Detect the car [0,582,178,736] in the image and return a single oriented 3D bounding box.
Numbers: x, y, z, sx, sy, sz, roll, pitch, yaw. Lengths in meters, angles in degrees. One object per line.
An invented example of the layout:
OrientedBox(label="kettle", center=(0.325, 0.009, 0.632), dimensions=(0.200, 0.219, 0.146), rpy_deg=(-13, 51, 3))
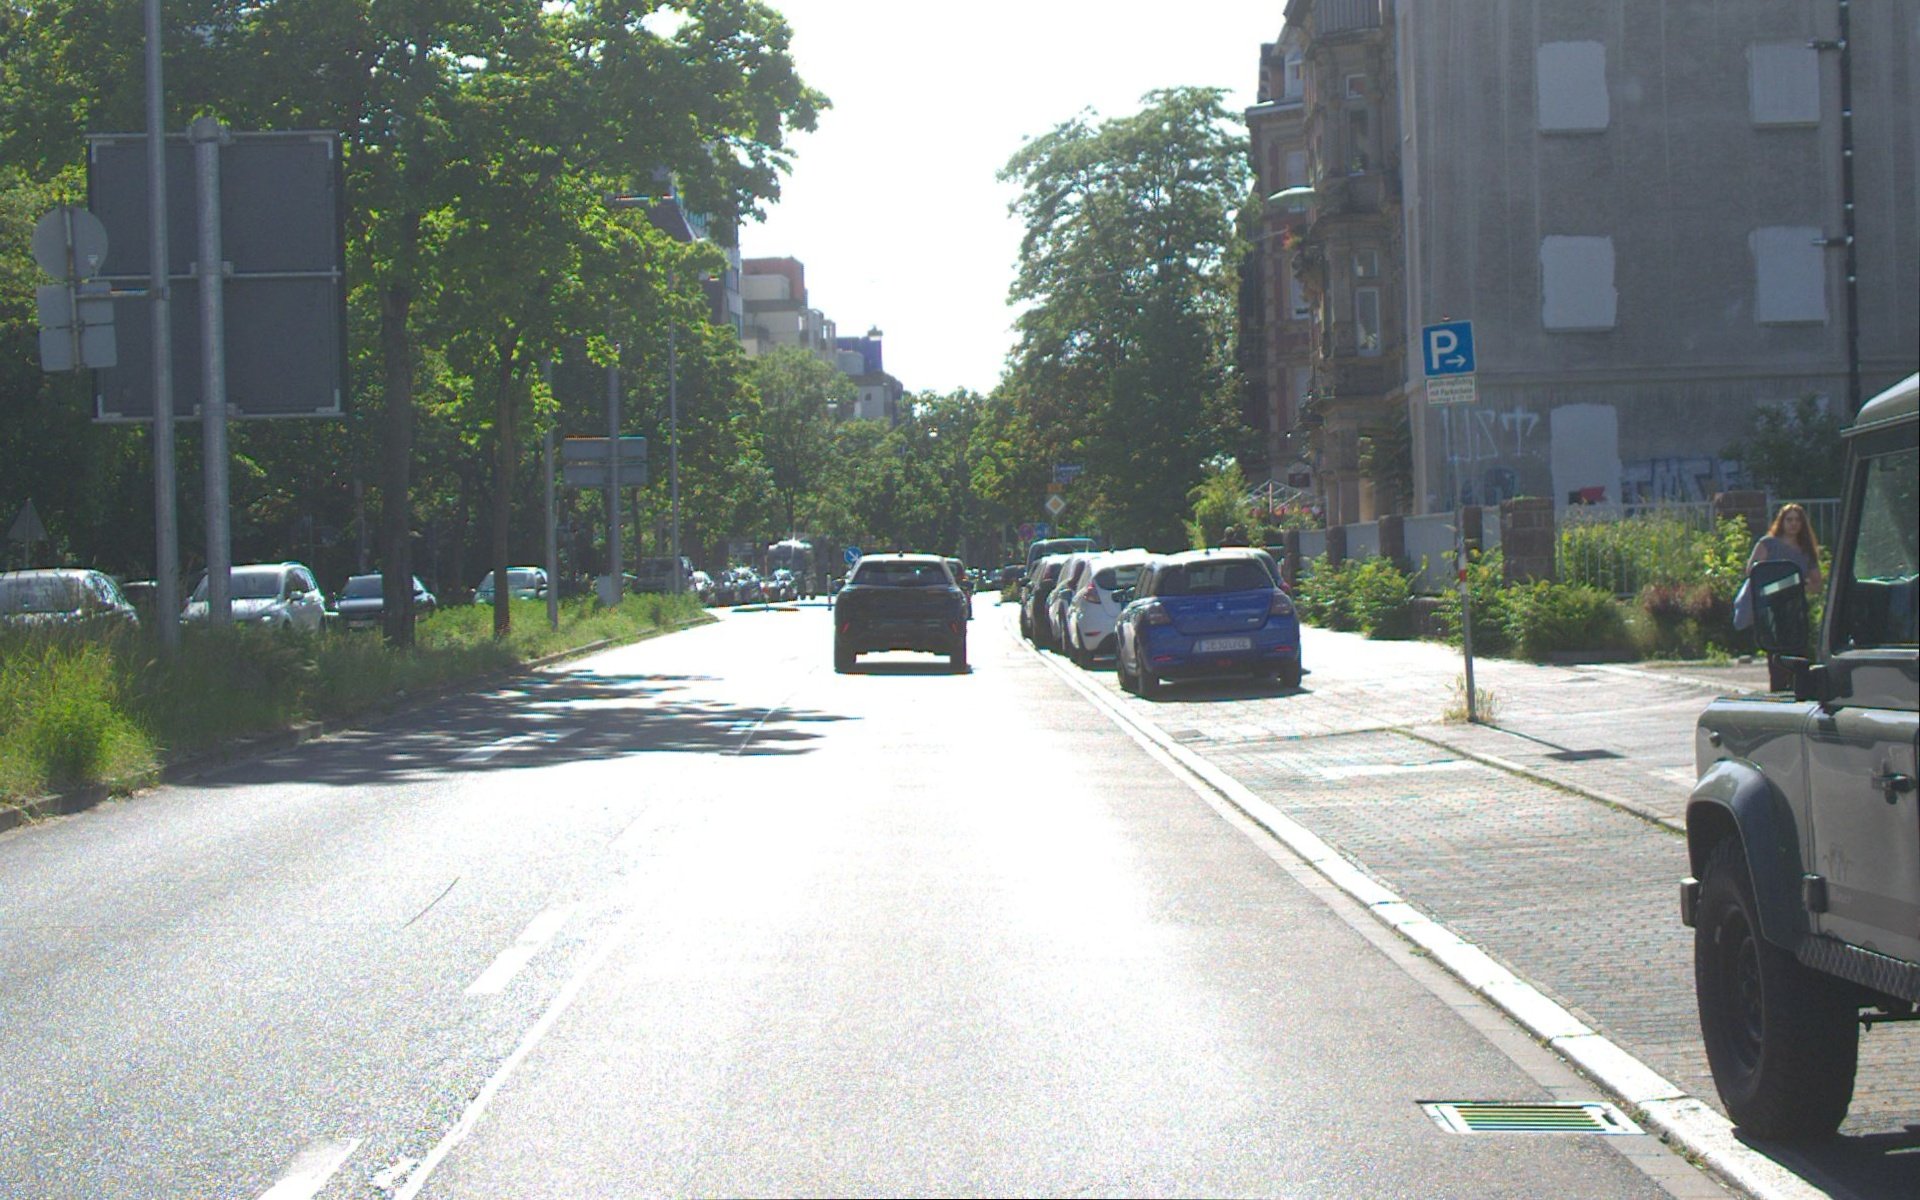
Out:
OrientedBox(label="car", center=(-10.005, 0.695, 38.010), dimensions=(1.753, 1.613, 4.323), rpy_deg=(0, -2, 0))

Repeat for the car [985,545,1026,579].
OrientedBox(label="car", center=(2.283, -1.884, 170.989), dimensions=(1.920, 1.634, 4.000), rpy_deg=(-2, 1, 2))

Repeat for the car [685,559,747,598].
OrientedBox(label="car", center=(-10.021, -0.910, 141.519), dimensions=(1.759, 1.514, 3.858), rpy_deg=(-1, 1, 7))

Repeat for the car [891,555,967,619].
OrientedBox(label="car", center=(-0.758, -0.319, 83.623), dimensions=(1.792, 1.515, 3.849), rpy_deg=(0, 0, -1))

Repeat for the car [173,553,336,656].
OrientedBox(label="car", center=(-11.999, 0.048, 58.766), dimensions=(1.900, 1.620, 4.537), rpy_deg=(-2, 1, -1))

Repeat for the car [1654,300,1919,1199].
OrientedBox(label="car", center=(2.817, 0.357, 7.138), dimensions=(1.660, 2.007, 4.776), rpy_deg=(-2, 0, -1))

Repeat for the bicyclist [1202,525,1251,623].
OrientedBox(label="bicyclist", center=(4.343, -0.429, 56.035), dimensions=(0.741, 1.575, 1.100), rpy_deg=(0, 2, 2))

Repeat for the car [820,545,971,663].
OrientedBox(label="car", center=(-0.923, 0.030, 46.795), dimensions=(1.894, 1.514, 4.001), rpy_deg=(1, 1, -3))

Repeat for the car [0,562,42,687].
OrientedBox(label="car", center=(-12.557, 0.332, 41.081), dimensions=(1.839, 1.514, 4.666), rpy_deg=(-2, 1, 1))

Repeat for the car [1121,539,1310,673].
OrientedBox(label="car", center=(3.105, 0.037, 42.489), dimensions=(1.668, 1.455, 3.987), rpy_deg=(-5, 1, -4))

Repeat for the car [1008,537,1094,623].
OrientedBox(label="car", center=(2.074, -0.477, 77.209), dimensions=(1.819, 1.837, 4.364), rpy_deg=(-2, 1, 2))

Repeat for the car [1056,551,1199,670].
OrientedBox(label="car", center=(2.270, 0.112, 47.426), dimensions=(1.608, 1.441, 3.659), rpy_deg=(-4, 1, -1))

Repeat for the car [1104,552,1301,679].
OrientedBox(label="car", center=(2.611, 0.138, 37.813), dimensions=(1.668, 1.178, 3.901), rpy_deg=(-5, 1, -2))

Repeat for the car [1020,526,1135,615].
OrientedBox(label="car", center=(1.946, -0.516, 57.803), dimensions=(1.668, 1.389, 3.775), rpy_deg=(-2, 1, -1))

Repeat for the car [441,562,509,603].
OrientedBox(label="car", center=(-20.314, -0.740, 143.811), dimensions=(1.974, 1.656, 4.001), rpy_deg=(-2, 1, -20))

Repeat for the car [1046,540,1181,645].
OrientedBox(label="car", center=(2.330, -0.145, 53.066), dimensions=(1.668, 1.514, 3.662), rpy_deg=(-2, 1, -3))

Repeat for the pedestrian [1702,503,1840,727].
OrientedBox(label="pedestrian", center=(5.892, 0.100, 25.013), dimensions=(0.743, 1.578, 0.897), rpy_deg=(-2, 1, 0))

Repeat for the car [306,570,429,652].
OrientedBox(label="car", center=(-11.821, 0.227, 68.796), dimensions=(1.795, 1.514, 4.087), rpy_deg=(-3, 0, -1))
